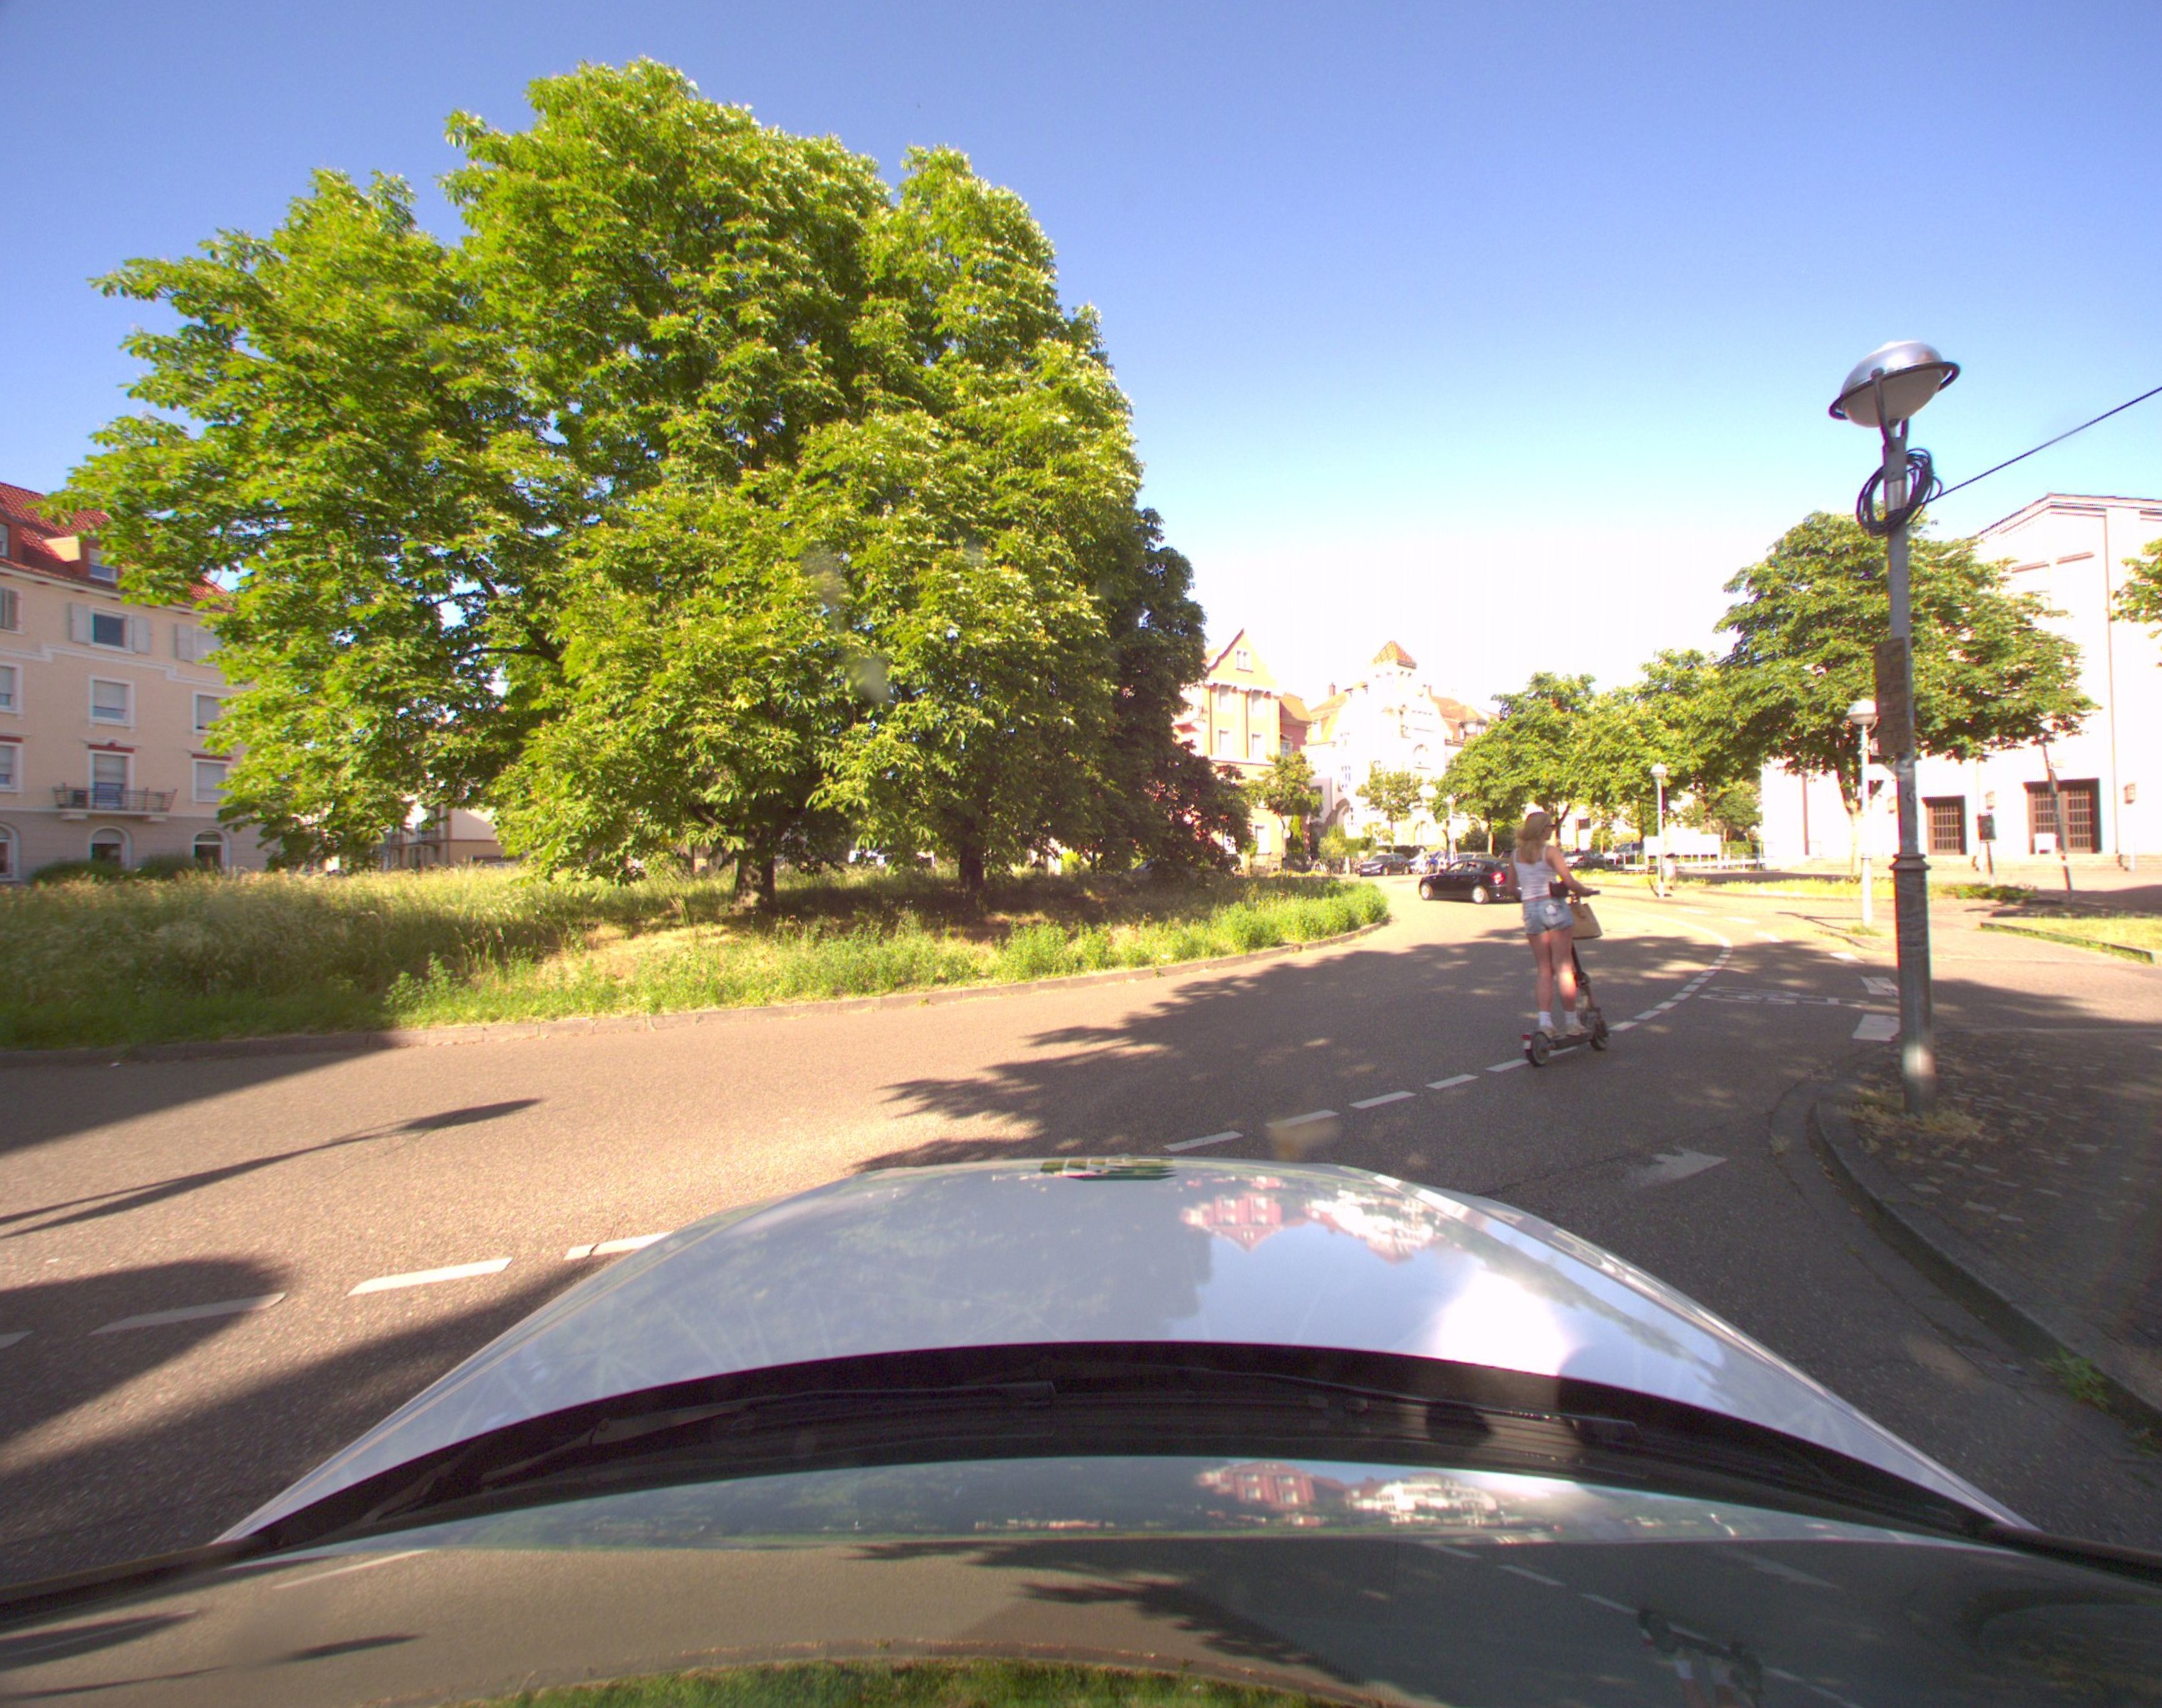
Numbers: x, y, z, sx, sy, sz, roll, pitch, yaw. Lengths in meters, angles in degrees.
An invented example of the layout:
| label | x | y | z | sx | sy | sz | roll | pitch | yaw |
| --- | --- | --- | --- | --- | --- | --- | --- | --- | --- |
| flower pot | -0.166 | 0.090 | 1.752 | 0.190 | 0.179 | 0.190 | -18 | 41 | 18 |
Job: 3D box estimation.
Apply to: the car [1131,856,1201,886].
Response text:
| label | x | y | z | sx | sy | sz | roll | pitch | yaw |
| --- | --- | --- | --- | --- | --- | --- | --- | --- | --- |
| car | 4.652 | 0.943 | 45.111 | 1.835 | 1.533 | 3.959 | -1 | 0 | -32 |

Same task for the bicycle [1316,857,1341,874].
| label | x | y | z | sx | sy | sz | roll | pitch | yaw |
| --- | --- | --- | --- | --- | --- | --- | --- | --- | --- |
| bicycle | 17.027 | 0.781 | 56.067 | 0.548 | 1.115 | 1.708 | -1 | 1 | -34 |

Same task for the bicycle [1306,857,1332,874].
| label | x | y | z | sx | sy | sz | roll | pitch | yaw |
| --- | --- | --- | --- | --- | --- | --- | --- | --- | --- |
| bicycle | 16.239 | 0.776 | 55.548 | 0.548 | 1.115 | 1.708 | -1 | 1 | -34 |

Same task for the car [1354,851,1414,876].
| label | x | y | z | sx | sy | sz | roll | pitch | yaw |
| --- | --- | --- | --- | --- | --- | --- | --- | --- | --- |
| car | 20.274 | 0.623 | 54.444 | 4.361 | 1.484 | 1.788 | -1 | -3 | -40 |

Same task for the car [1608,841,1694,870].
| label | x | y | z | sx | sy | sz | roll | pitch | yaw |
| --- | --- | --- | --- | --- | --- | --- | --- | --- | --- |
| car | 40.892 | 0.116 | 58.523 | 1.819 | 2.001 | 4.724 | -1 | 0 | -39 |

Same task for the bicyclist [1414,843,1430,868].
| label | x | y | z | sx | sy | sz | roll | pitch | yaw |
| --- | --- | --- | --- | --- | --- | --- | --- | --- | --- |
| bicyclist | 22.305 | 0.093 | 53.249 | 0.807 | 1.581 | 0.589 | -1 | -1 | -35 |

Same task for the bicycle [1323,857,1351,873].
| label | x | y | z | sx | sy | sz | roll | pitch | yaw |
| --- | --- | --- | --- | --- | --- | --- | --- | --- | --- |
| bicycle | 17.803 | 0.769 | 56.555 | 1.806 | 1.107 | 0.504 | 1 | 1 | 40 |

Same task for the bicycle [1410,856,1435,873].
| label | x | y | z | sx | sy | sz | roll | pitch | yaw |
| --- | --- | --- | --- | --- | --- | --- | --- | --- | --- |
| bicycle | 22.329 | 0.682 | 53.241 | 1.871 | 1.107 | 0.589 | -1 | -1 | -35 |

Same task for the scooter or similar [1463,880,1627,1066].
| label | x | y | z | sx | sy | sz | roll | pitch | yaw |
| --- | --- | --- | --- | --- | --- | --- | --- | --- | --- |
| scooter or similar | 3.633 | 0.868 | 6.380 | 1.109 | 1.283 | 0.626 | -1 | 0 | -30 |

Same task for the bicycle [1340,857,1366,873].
| label | x | y | z | sx | sy | sz | roll | pitch | yaw |
| --- | --- | --- | --- | --- | --- | --- | --- | --- | --- |
| bicycle | 19.258 | 0.758 | 57.689 | 0.503 | 1.107 | 1.707 | -1 | 1 | -38 |

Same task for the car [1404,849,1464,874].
| label | x | y | z | sx | sy | sz | roll | pitch | yaw |
| --- | --- | --- | --- | --- | --- | --- | --- | --- | --- |
| car | 25.052 | 0.501 | 57.722 | 4.418 | 1.562 | 1.790 | -1 | -3 | -36 |

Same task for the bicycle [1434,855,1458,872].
| label | x | y | z | sx | sy | sz | roll | pitch | yaw |
| --- | --- | --- | --- | --- | --- | --- | --- | --- | --- |
| bicycle | 24.698 | 0.623 | 55.069 | 1.724 | 1.108 | 0.639 | 0 | -2 | -35 |

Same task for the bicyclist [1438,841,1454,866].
| label | x | y | z | sx | sy | sz | roll | pitch | yaw |
| --- | --- | --- | --- | --- | --- | --- | --- | --- | --- |
| bicyclist | 24.670 | -0.042 | 55.081 | 0.726 | 1.715 | 0.639 | 0 | -2 | -35 |

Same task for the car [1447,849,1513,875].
| label | x | y | z | sx | sy | sz | roll | pitch | yaw |
| --- | --- | --- | --- | --- | --- | --- | --- | --- | --- |
| car | 23.066 | 0.416 | 47.040 | 4.361 | 1.416 | 1.789 | -1 | 0 | -40 |

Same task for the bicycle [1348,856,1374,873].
| label | x | y | z | sx | sy | sz | roll | pitch | yaw |
| --- | --- | --- | --- | --- | --- | --- | --- | --- | --- |
| bicycle | 20.045 | 0.738 | 58.310 | 0.518 | 1.107 | 1.707 | -1 | 1 | -38 |

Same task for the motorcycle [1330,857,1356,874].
| label | x | y | z | sx | sy | sz | roll | pitch | yaw |
| --- | --- | --- | --- | --- | --- | --- | --- | --- | --- |
| motorcycle | 18.335 | 0.780 | 56.978 | 0.503 | 1.107 | 1.706 | -1 | 1 | -42 |

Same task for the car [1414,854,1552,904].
| label | x | y | z | sx | sy | sz | roll | pitch | yaw |
| --- | --- | --- | --- | --- | --- | --- | --- | --- | --- |
| car | 12.674 | 0.750 | 25.961 | 1.866 | 1.419 | 3.984 | -2 | 0 | -12 |

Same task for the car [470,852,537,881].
| label | x | y | z | sx | sy | sz | roll | pitch | yaw |
| --- | --- | --- | --- | --- | --- | --- | --- | --- | --- |
| car | -39.522 | 0.873 | 55.733 | 4.502 | 1.909 | 2.155 | -2 | -1 | 33 |

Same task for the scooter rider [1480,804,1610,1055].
| label | x | y | z | sx | sy | sz | roll | pitch | yaw |
| --- | --- | --- | --- | --- | --- | --- | --- | --- | --- |
| scooter rider | 3.628 | 0.551 | 6.383 | 0.633 | 1.832 | 0.619 | -1 | -1 | -30 |

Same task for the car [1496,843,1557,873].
| label | x | y | z | sx | sy | sz | roll | pitch | yaw |
| --- | --- | --- | --- | --- | --- | --- | --- | --- | --- |
| car | 27.251 | 0.213 | 49.758 | 4.361 | 1.728 | 1.789 | -1 | 0 | -40 |

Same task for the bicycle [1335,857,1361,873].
| label | x | y | z | sx | sy | sz | roll | pitch | yaw |
| --- | --- | --- | --- | --- | --- | --- | --- | --- | --- |
| bicycle | 18.778 | 0.767 | 57.335 | 0.503 | 1.107 | 1.706 | -1 | 1 | -42 |

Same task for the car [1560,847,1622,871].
| label | x | y | z | sx | sy | sz | roll | pitch | yaw |
| --- | --- | --- | --- | --- | --- | --- | --- | --- | --- |
| car | 33.972 | 0.324 | 54.213 | 4.354 | 1.474 | 1.791 | -1 | 0 | -32 |

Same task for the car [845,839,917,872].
| label | x | y | z | sx | sy | sz | roll | pitch | yaw |
| --- | --- | --- | --- | --- | --- | --- | --- | --- | --- |
| car | -16.592 | 0.120 | 67.477 | 6.294 | 2.600 | 2.117 | 0 | -1 | 34 |
